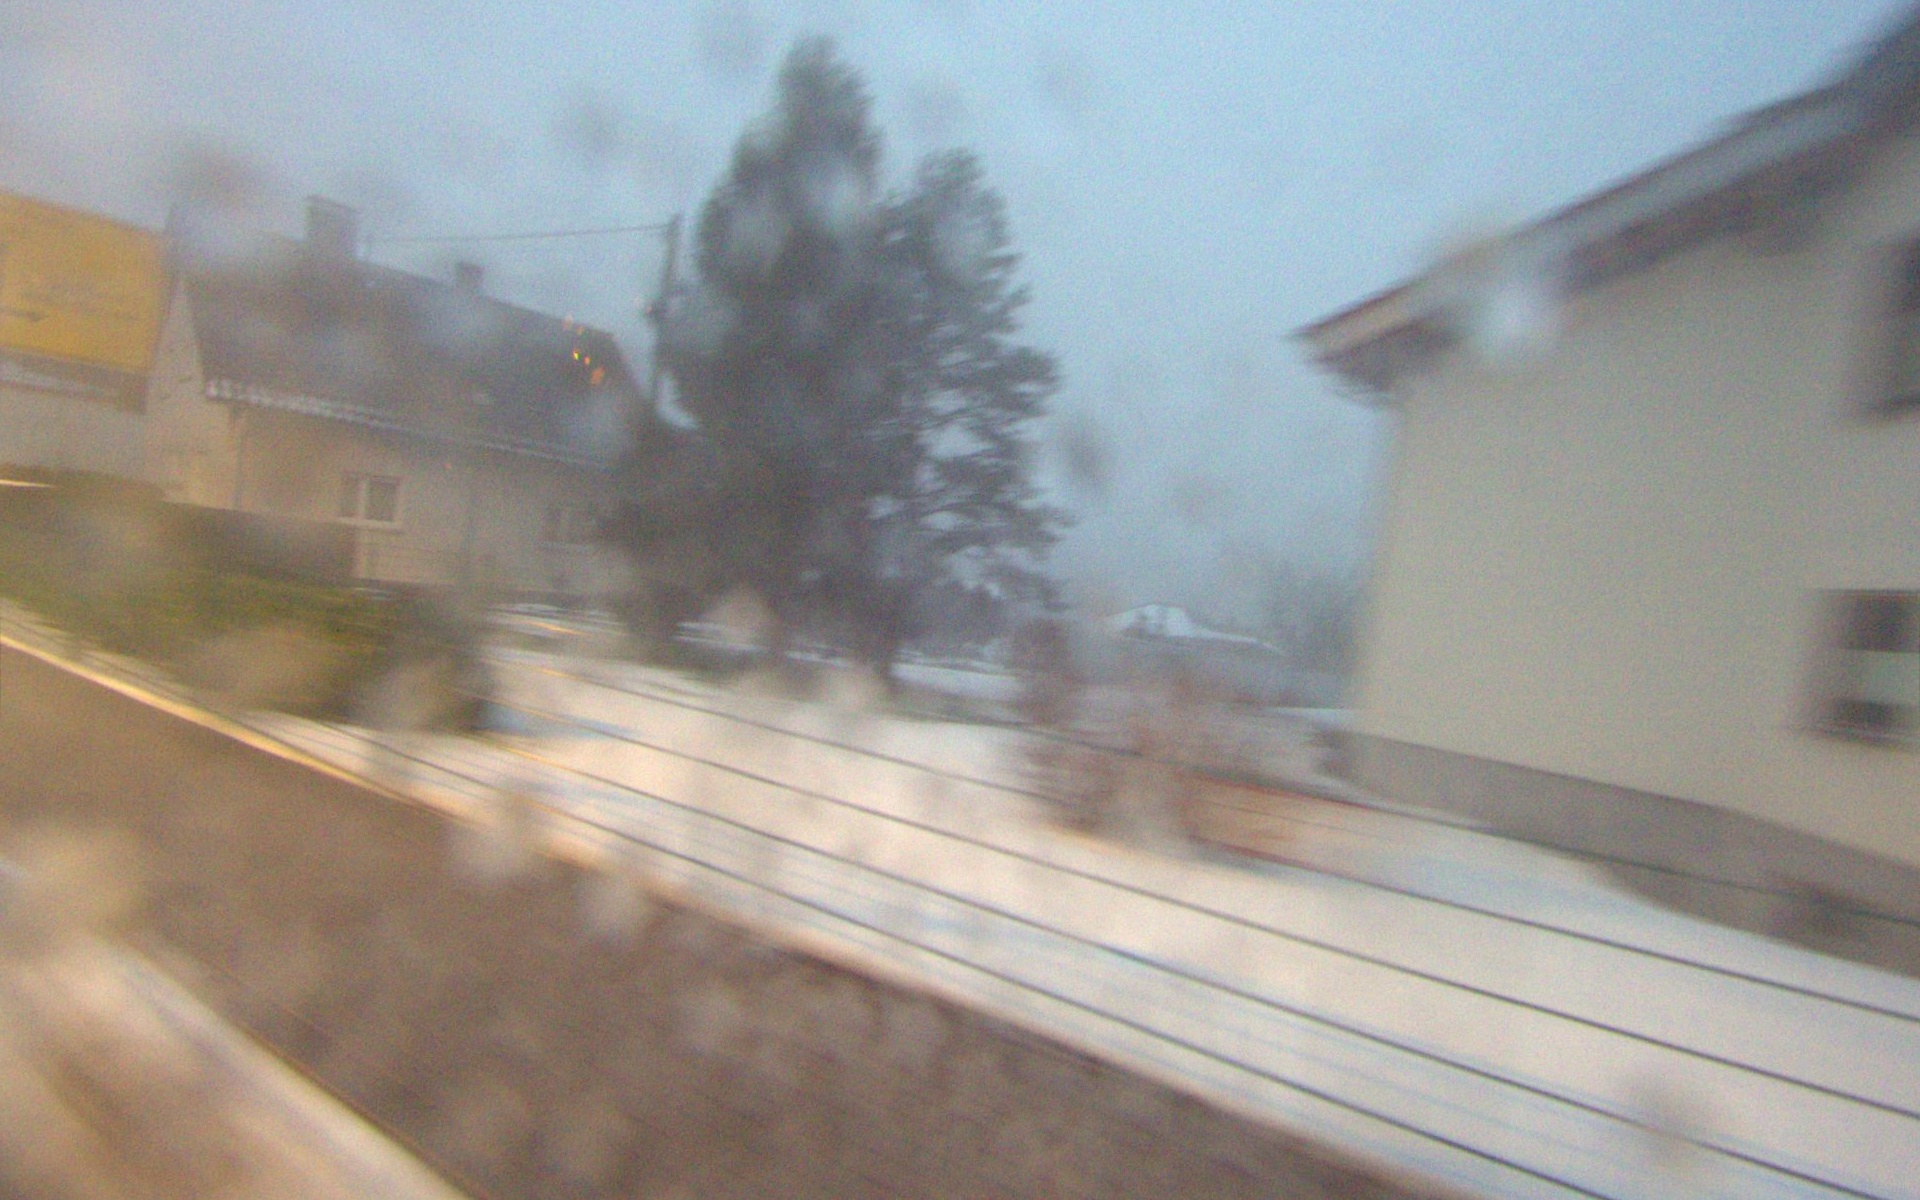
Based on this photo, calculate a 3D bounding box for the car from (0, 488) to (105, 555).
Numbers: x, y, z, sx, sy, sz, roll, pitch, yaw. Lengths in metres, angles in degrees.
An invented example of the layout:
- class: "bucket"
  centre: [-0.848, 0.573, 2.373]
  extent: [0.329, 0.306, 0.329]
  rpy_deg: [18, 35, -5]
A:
- class: "car"
  centre: [-26.927, -2.377, 28.370]
  extent: [1.690, 1.470, 3.985]
  rpy_deg: [10, 0, 40]
